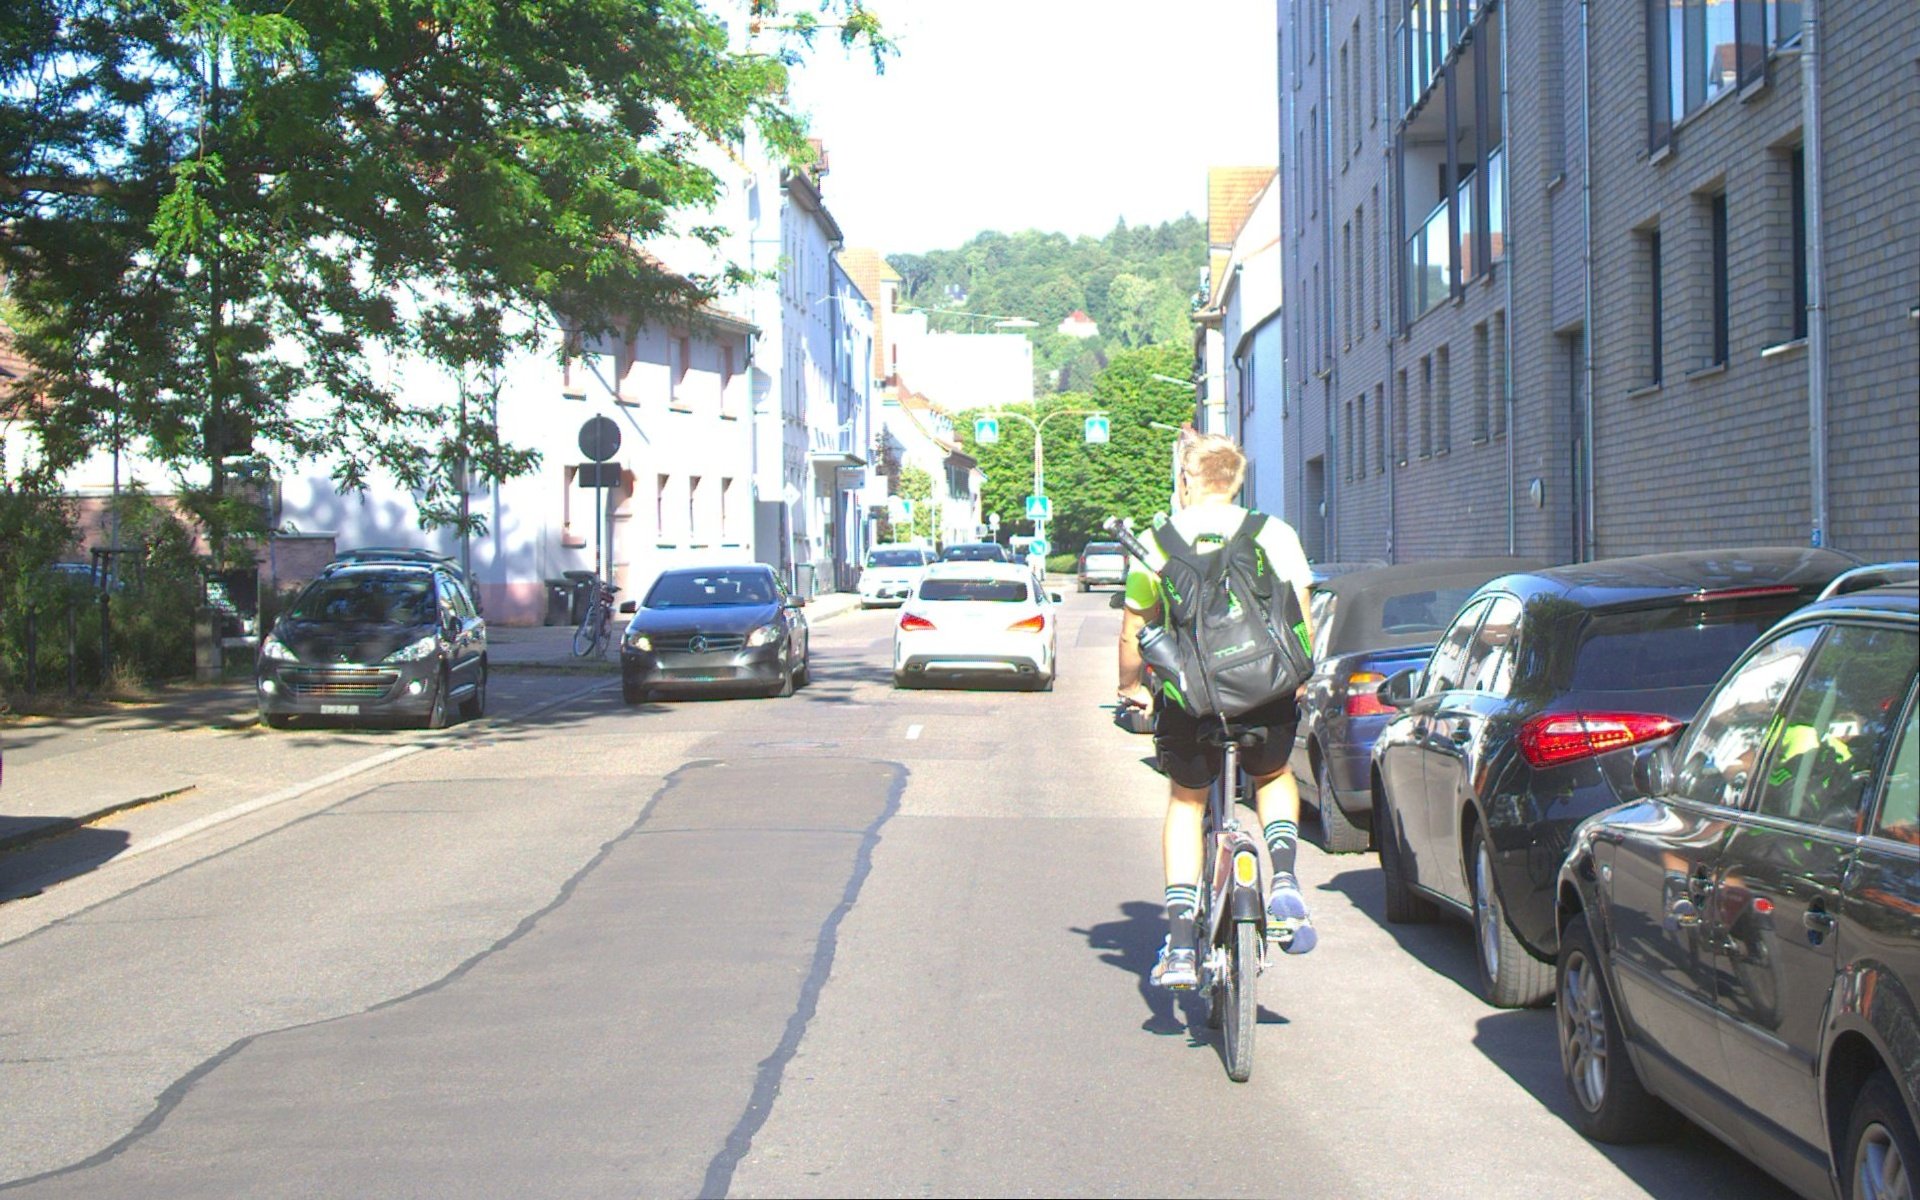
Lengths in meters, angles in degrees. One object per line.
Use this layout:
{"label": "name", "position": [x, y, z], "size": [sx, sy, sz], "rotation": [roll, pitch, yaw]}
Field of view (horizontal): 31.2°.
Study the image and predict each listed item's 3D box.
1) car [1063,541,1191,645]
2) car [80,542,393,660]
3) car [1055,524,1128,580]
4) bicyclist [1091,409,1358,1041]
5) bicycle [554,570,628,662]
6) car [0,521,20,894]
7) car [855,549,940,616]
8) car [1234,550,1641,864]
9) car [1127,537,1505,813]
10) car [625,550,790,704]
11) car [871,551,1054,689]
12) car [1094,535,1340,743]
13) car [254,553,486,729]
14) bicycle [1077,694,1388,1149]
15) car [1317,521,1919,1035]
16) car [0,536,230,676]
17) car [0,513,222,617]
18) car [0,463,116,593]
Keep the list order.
{"label": "car", "position": [2.790, -0.140, 58.220], "size": [1.857, 1.581, 4.621], "rotation": [-3, 1, 0]}
{"label": "car", "position": [-9.830, 0.005, 46.901], "size": [3.901, 1.570, 1.710], "rotation": [0, 1, 1]}
{"label": "car", "position": [4.244, -1.555, 111.588], "size": [1.853, 1.785, 4.608], "rotation": [0, 1, -4]}
{"label": "bicyclist", "position": [0.768, 0.351, 10.239], "size": [0.698, 1.784, 1.041], "rotation": [0, 0, -1]}
{"label": "bicycle", "position": [-5.143, 0.202, 48.050], "size": [0.835, 1.213, 2.842], "rotation": [0, 1, -2]}
{"label": "car", "position": [-5.491, 0.549, 14.480], "size": [1.853, 1.785, 4.608], "rotation": [0, 1, -1]}
{"label": "car", "position": [-1.583, -0.471, 88.749], "size": [1.945, 1.581, 4.621], "rotation": [-3, 1, 1]}
{"label": "car", "position": [2.460, 0.504, 18.446], "size": [1.508, 1.439, 3.530], "rotation": [-3, 1, -2]}
{"label": "car", "position": [2.293, 0.438, 23.342], "size": [1.857, 1.581, 4.622], "rotation": [-3, 1, -2]}
{"label": "car", "position": [-2.701, 0.247, 37.403], "size": [1.664, 1.570, 3.914], "rotation": [0, 1, -2]}
{"label": "car", "position": [-0.024, 0.203, 39.100], "size": [1.842, 1.486, 4.145], "rotation": [0, 0, -3]}
{"label": "car", "position": [2.310, 0.313, 32.018], "size": [1.857, 1.696, 4.621], "rotation": [-3, 1, 0]}
{"label": "car", "position": [-5.591, 0.341, 32.958], "size": [1.704, 1.570, 3.914], "rotation": [0, 1, -2]}
{"label": "bicycle", "position": [0.764, 0.885, 10.311], "size": [0.698, 1.126, 2.403], "rotation": [0, 0, -1]}
{"label": "car", "position": [2.543, 0.521, 12.948], "size": [1.857, 1.581, 4.622], "rotation": [0, 1, -1]}
{"label": "car", "position": [-10.622, 0.054, 39.793], "size": [3.902, 1.570, 1.709], "rotation": [0, 1, 6]}
{"label": "car", "position": [-13.483, -0.552, 53.269], "size": [3.900, 1.570, 1.710], "rotation": [0, 1, -9]}
{"label": "car", "position": [-12.623, -0.883, 42.538], "size": [3.901, 1.570, 1.710], "rotation": [0, 1, 3]}
